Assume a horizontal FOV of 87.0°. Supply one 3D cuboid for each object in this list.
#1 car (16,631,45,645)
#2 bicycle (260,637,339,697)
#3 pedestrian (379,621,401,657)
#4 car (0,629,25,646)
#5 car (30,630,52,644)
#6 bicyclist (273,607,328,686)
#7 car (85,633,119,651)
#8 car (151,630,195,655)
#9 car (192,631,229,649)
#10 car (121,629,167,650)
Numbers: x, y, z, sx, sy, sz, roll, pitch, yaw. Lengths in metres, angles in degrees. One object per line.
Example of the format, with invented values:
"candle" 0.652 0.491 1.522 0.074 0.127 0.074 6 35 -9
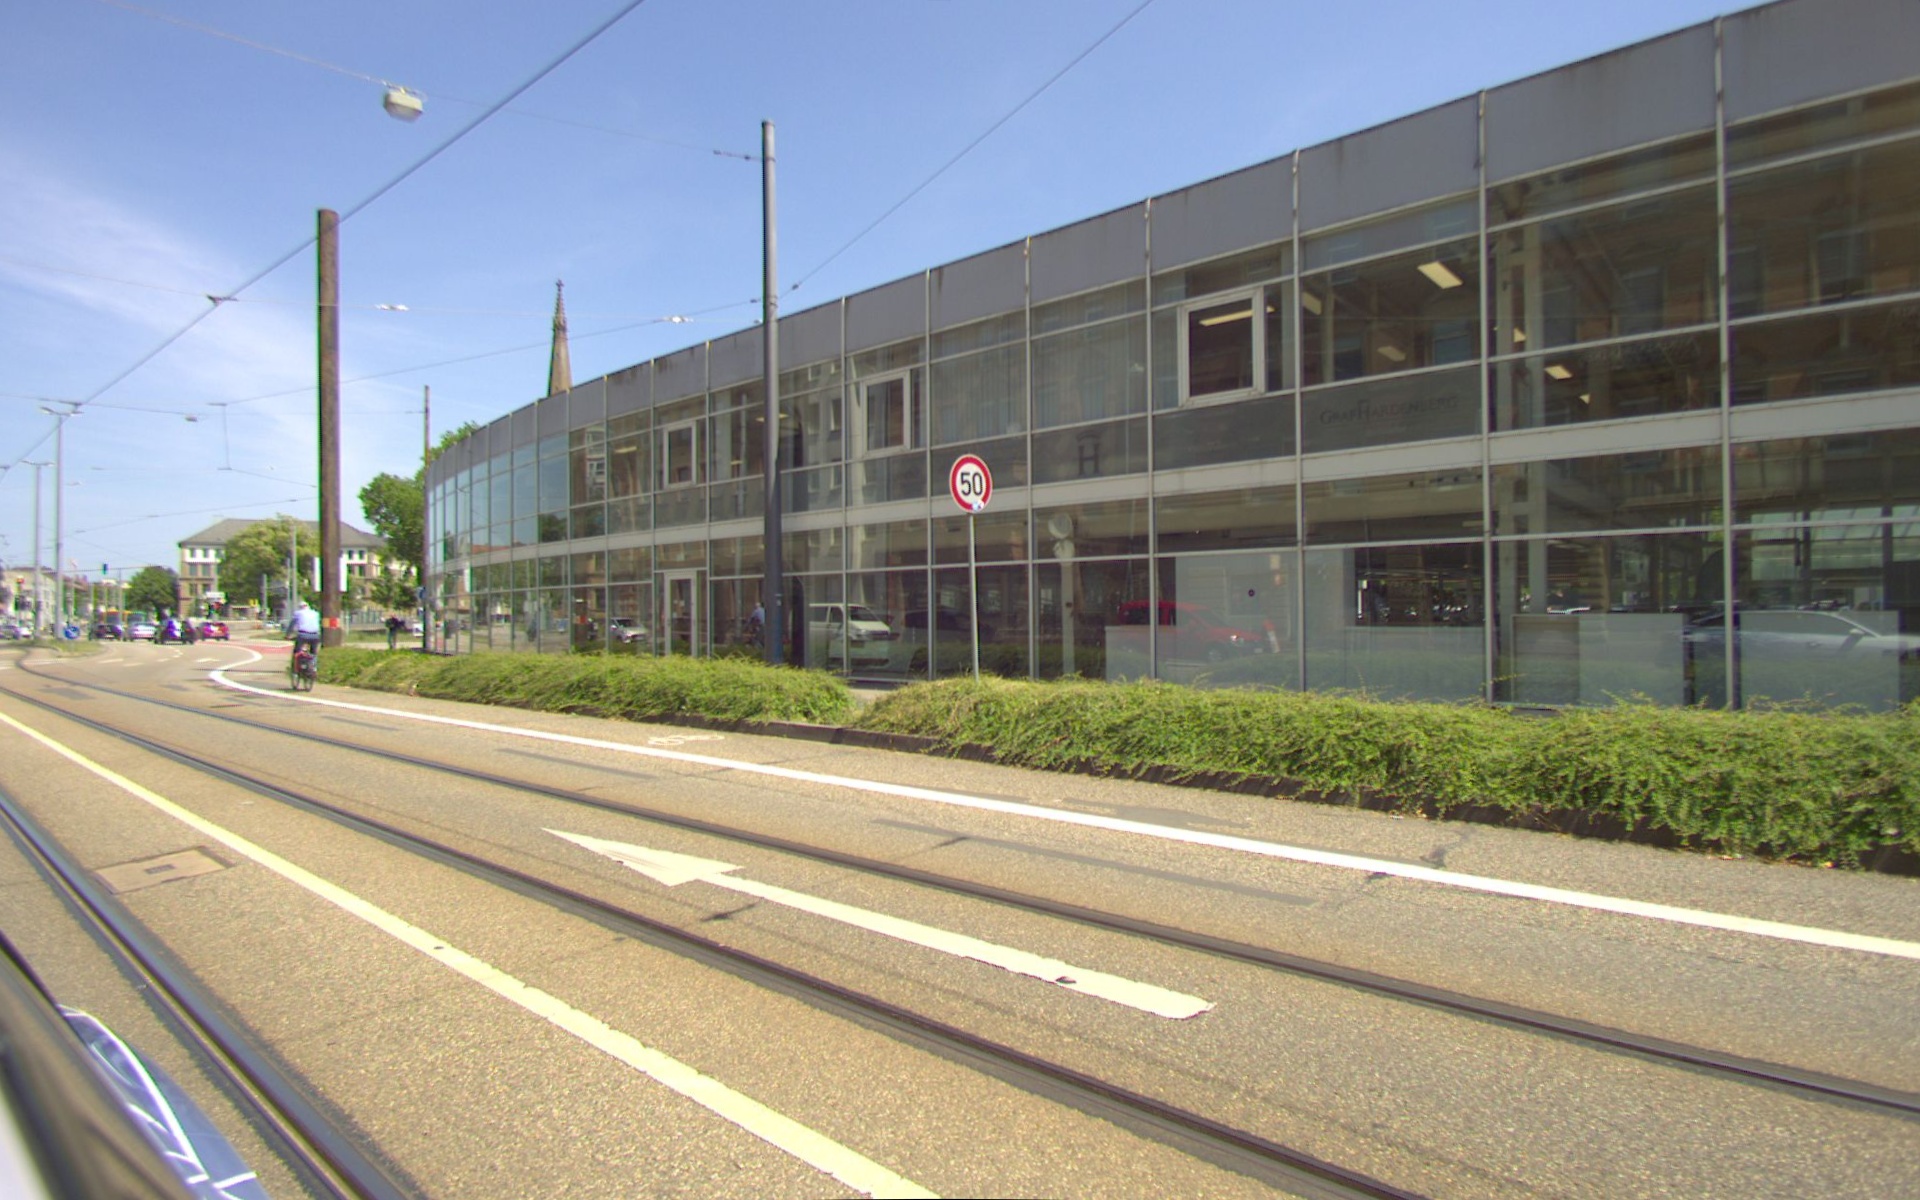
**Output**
"car" -94.527 3.864 102.895 4.201 1.309 1.688 -1 -3 41
"bicycle" -13.511 1.335 20.669 2.494 1.153 0.690 -2 -2 41
"pedestrian" -26.341 1.807 46.753 0.719 1.654 0.821 1 -2 -45
"car" -89.021 3.537 94.802 4.330 1.491 1.823 -3 -3 43
"car" -106.441 4.303 117.202 3.677 1.548 1.532 -2 -1 41
"bicyclist" -13.431 0.931 20.600 0.979 1.560 0.690 -2 -2 41
"car" -72.900 3.543 86.014 3.902 1.473 1.653 -2 -3 42
"car" -53.451 2.870 68.680 1.801 1.639 4.527 2 -3 -45
"car" -62.020 3.312 83.760 4.289 1.377 1.738 -2 -1 43
"car" -63.636 3.085 78.867 5.130 1.542 1.972 -1 -3 42
